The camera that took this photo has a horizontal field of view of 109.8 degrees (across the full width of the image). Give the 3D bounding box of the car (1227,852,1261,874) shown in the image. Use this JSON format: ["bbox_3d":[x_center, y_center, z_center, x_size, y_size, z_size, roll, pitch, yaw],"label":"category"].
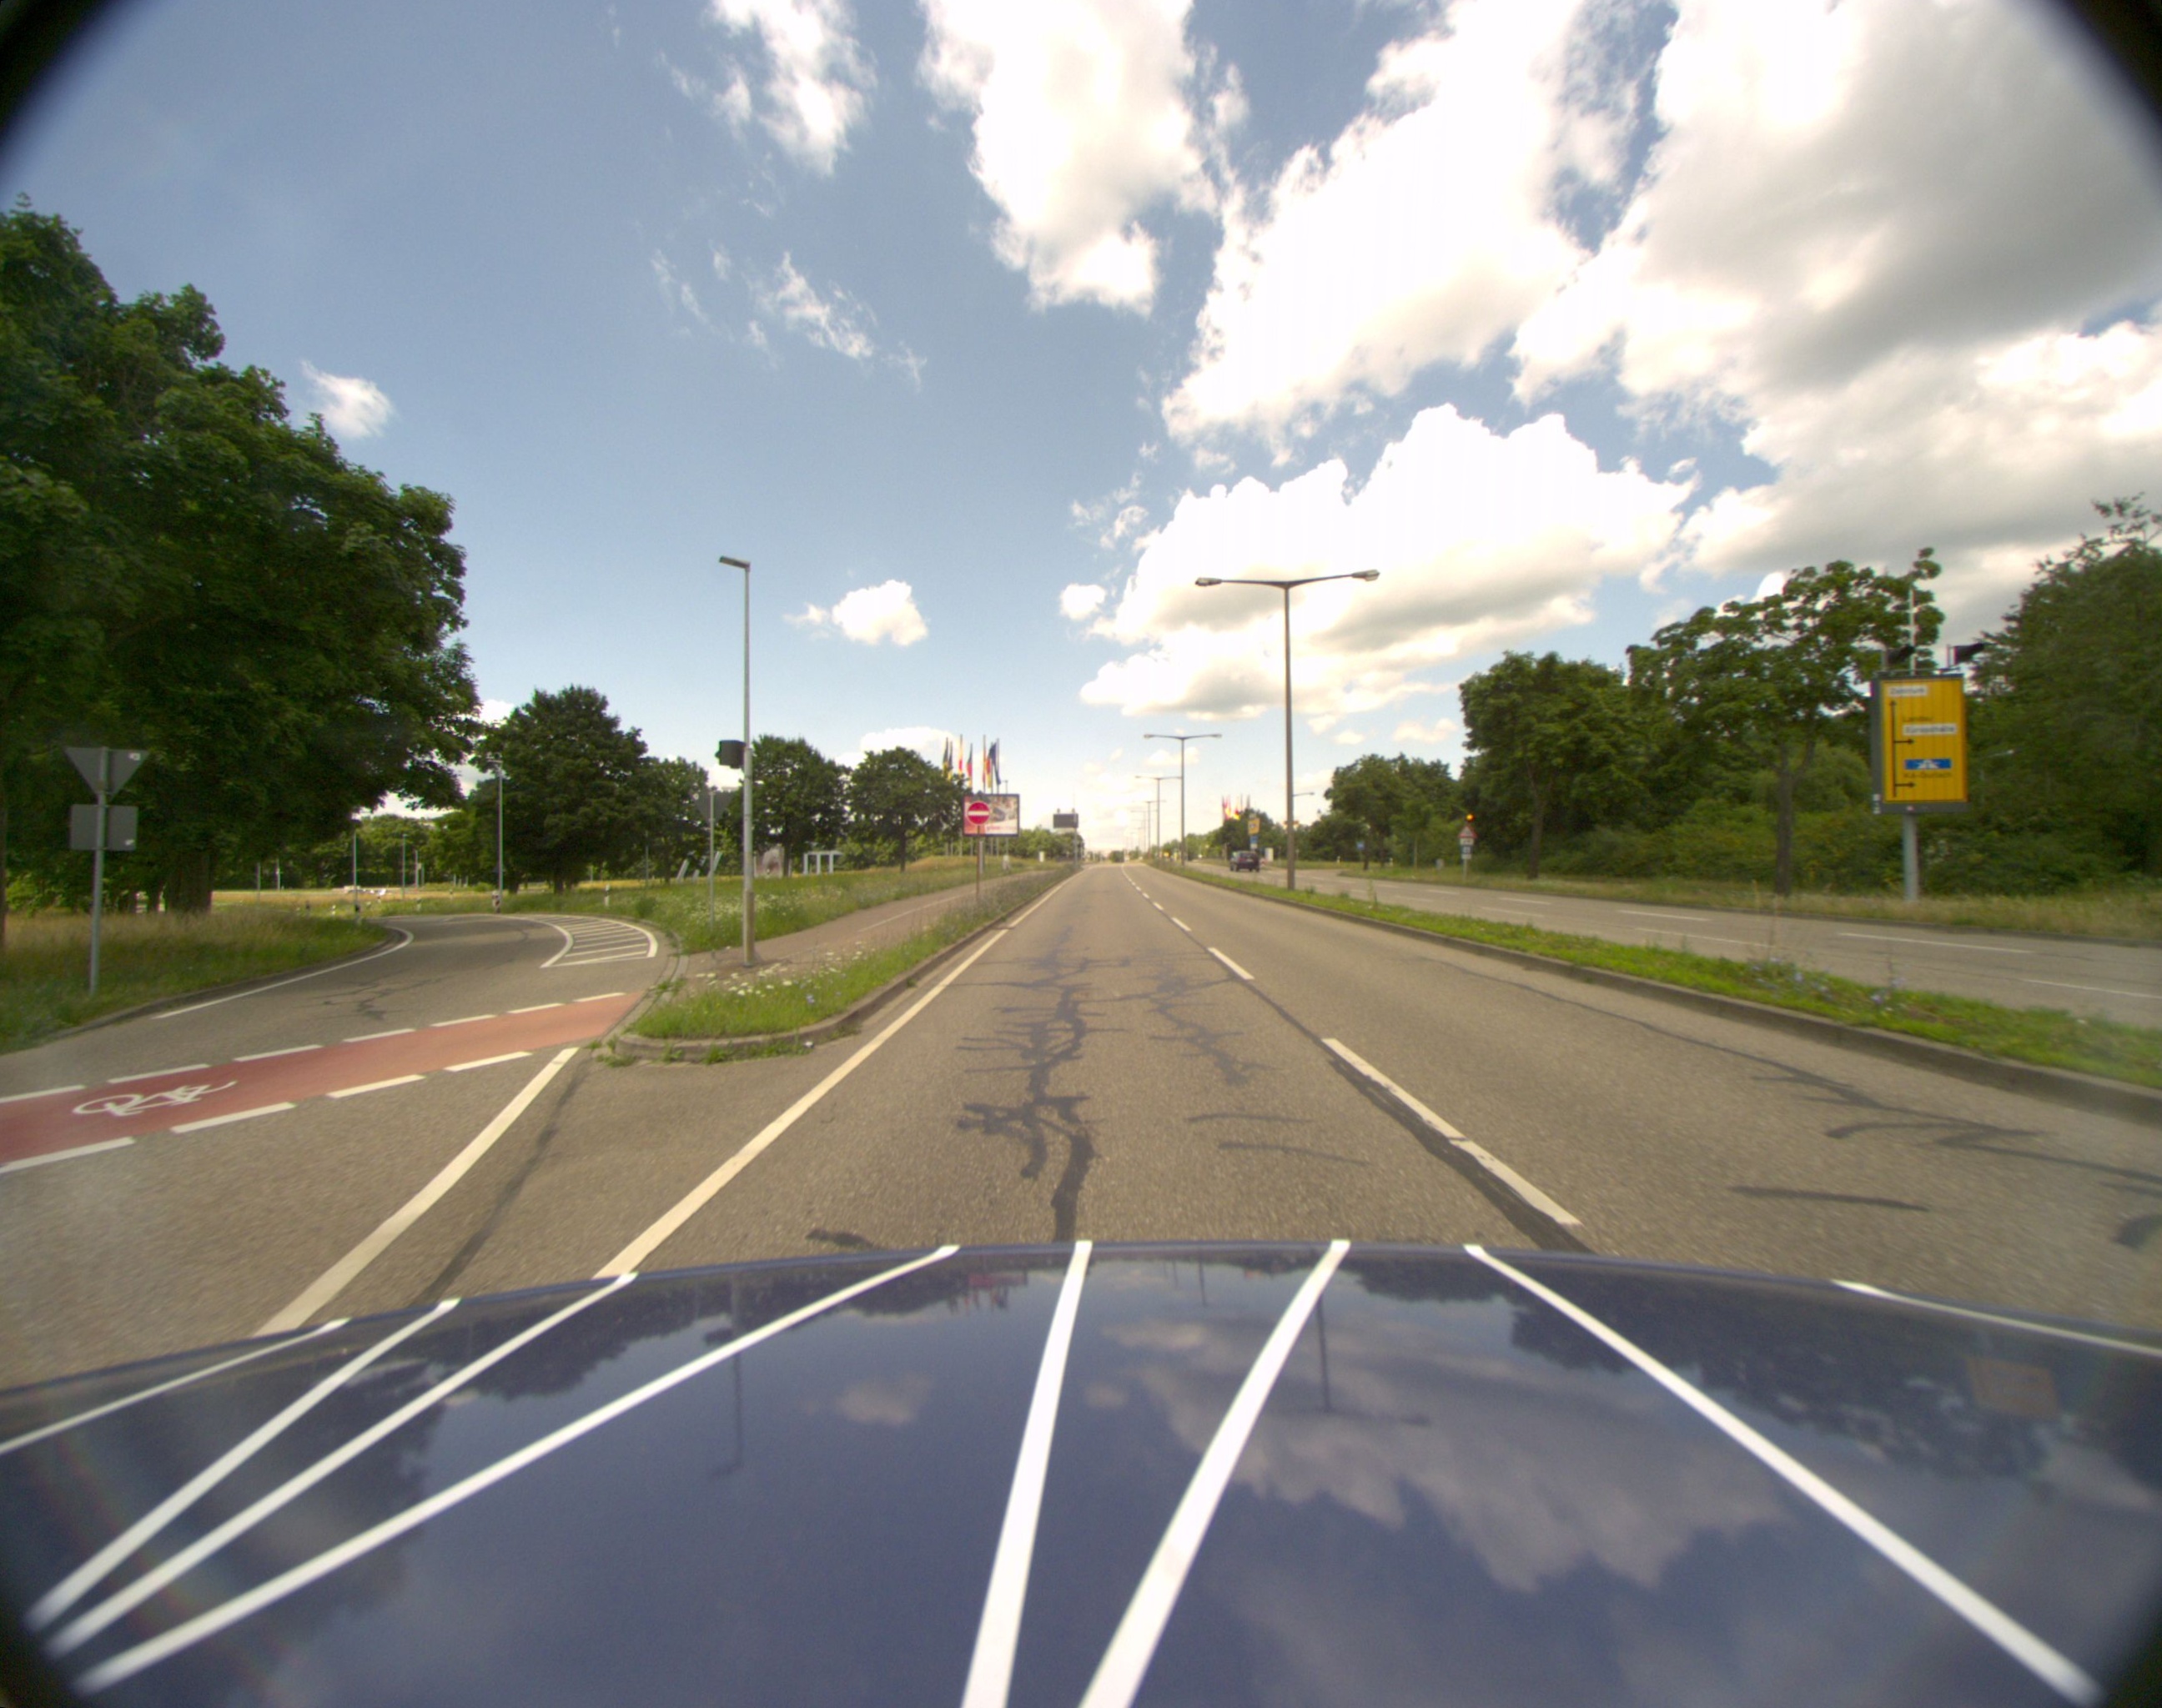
[{"bbox_3d":[13.948,0.713,65.318,1.881,1.780,4.728,1,0,0],"label":"car"}]

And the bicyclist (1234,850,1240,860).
[{"bbox_3d":[21.370,0.121,104.017,0.522,1.264,1.107,-2,-1,0],"label":"bicyclist"}]

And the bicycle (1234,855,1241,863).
[{"bbox_3d":[21.392,0.664,103.934,0.433,1.062,1.908,-2,-1,0],"label":"bicycle"}]
